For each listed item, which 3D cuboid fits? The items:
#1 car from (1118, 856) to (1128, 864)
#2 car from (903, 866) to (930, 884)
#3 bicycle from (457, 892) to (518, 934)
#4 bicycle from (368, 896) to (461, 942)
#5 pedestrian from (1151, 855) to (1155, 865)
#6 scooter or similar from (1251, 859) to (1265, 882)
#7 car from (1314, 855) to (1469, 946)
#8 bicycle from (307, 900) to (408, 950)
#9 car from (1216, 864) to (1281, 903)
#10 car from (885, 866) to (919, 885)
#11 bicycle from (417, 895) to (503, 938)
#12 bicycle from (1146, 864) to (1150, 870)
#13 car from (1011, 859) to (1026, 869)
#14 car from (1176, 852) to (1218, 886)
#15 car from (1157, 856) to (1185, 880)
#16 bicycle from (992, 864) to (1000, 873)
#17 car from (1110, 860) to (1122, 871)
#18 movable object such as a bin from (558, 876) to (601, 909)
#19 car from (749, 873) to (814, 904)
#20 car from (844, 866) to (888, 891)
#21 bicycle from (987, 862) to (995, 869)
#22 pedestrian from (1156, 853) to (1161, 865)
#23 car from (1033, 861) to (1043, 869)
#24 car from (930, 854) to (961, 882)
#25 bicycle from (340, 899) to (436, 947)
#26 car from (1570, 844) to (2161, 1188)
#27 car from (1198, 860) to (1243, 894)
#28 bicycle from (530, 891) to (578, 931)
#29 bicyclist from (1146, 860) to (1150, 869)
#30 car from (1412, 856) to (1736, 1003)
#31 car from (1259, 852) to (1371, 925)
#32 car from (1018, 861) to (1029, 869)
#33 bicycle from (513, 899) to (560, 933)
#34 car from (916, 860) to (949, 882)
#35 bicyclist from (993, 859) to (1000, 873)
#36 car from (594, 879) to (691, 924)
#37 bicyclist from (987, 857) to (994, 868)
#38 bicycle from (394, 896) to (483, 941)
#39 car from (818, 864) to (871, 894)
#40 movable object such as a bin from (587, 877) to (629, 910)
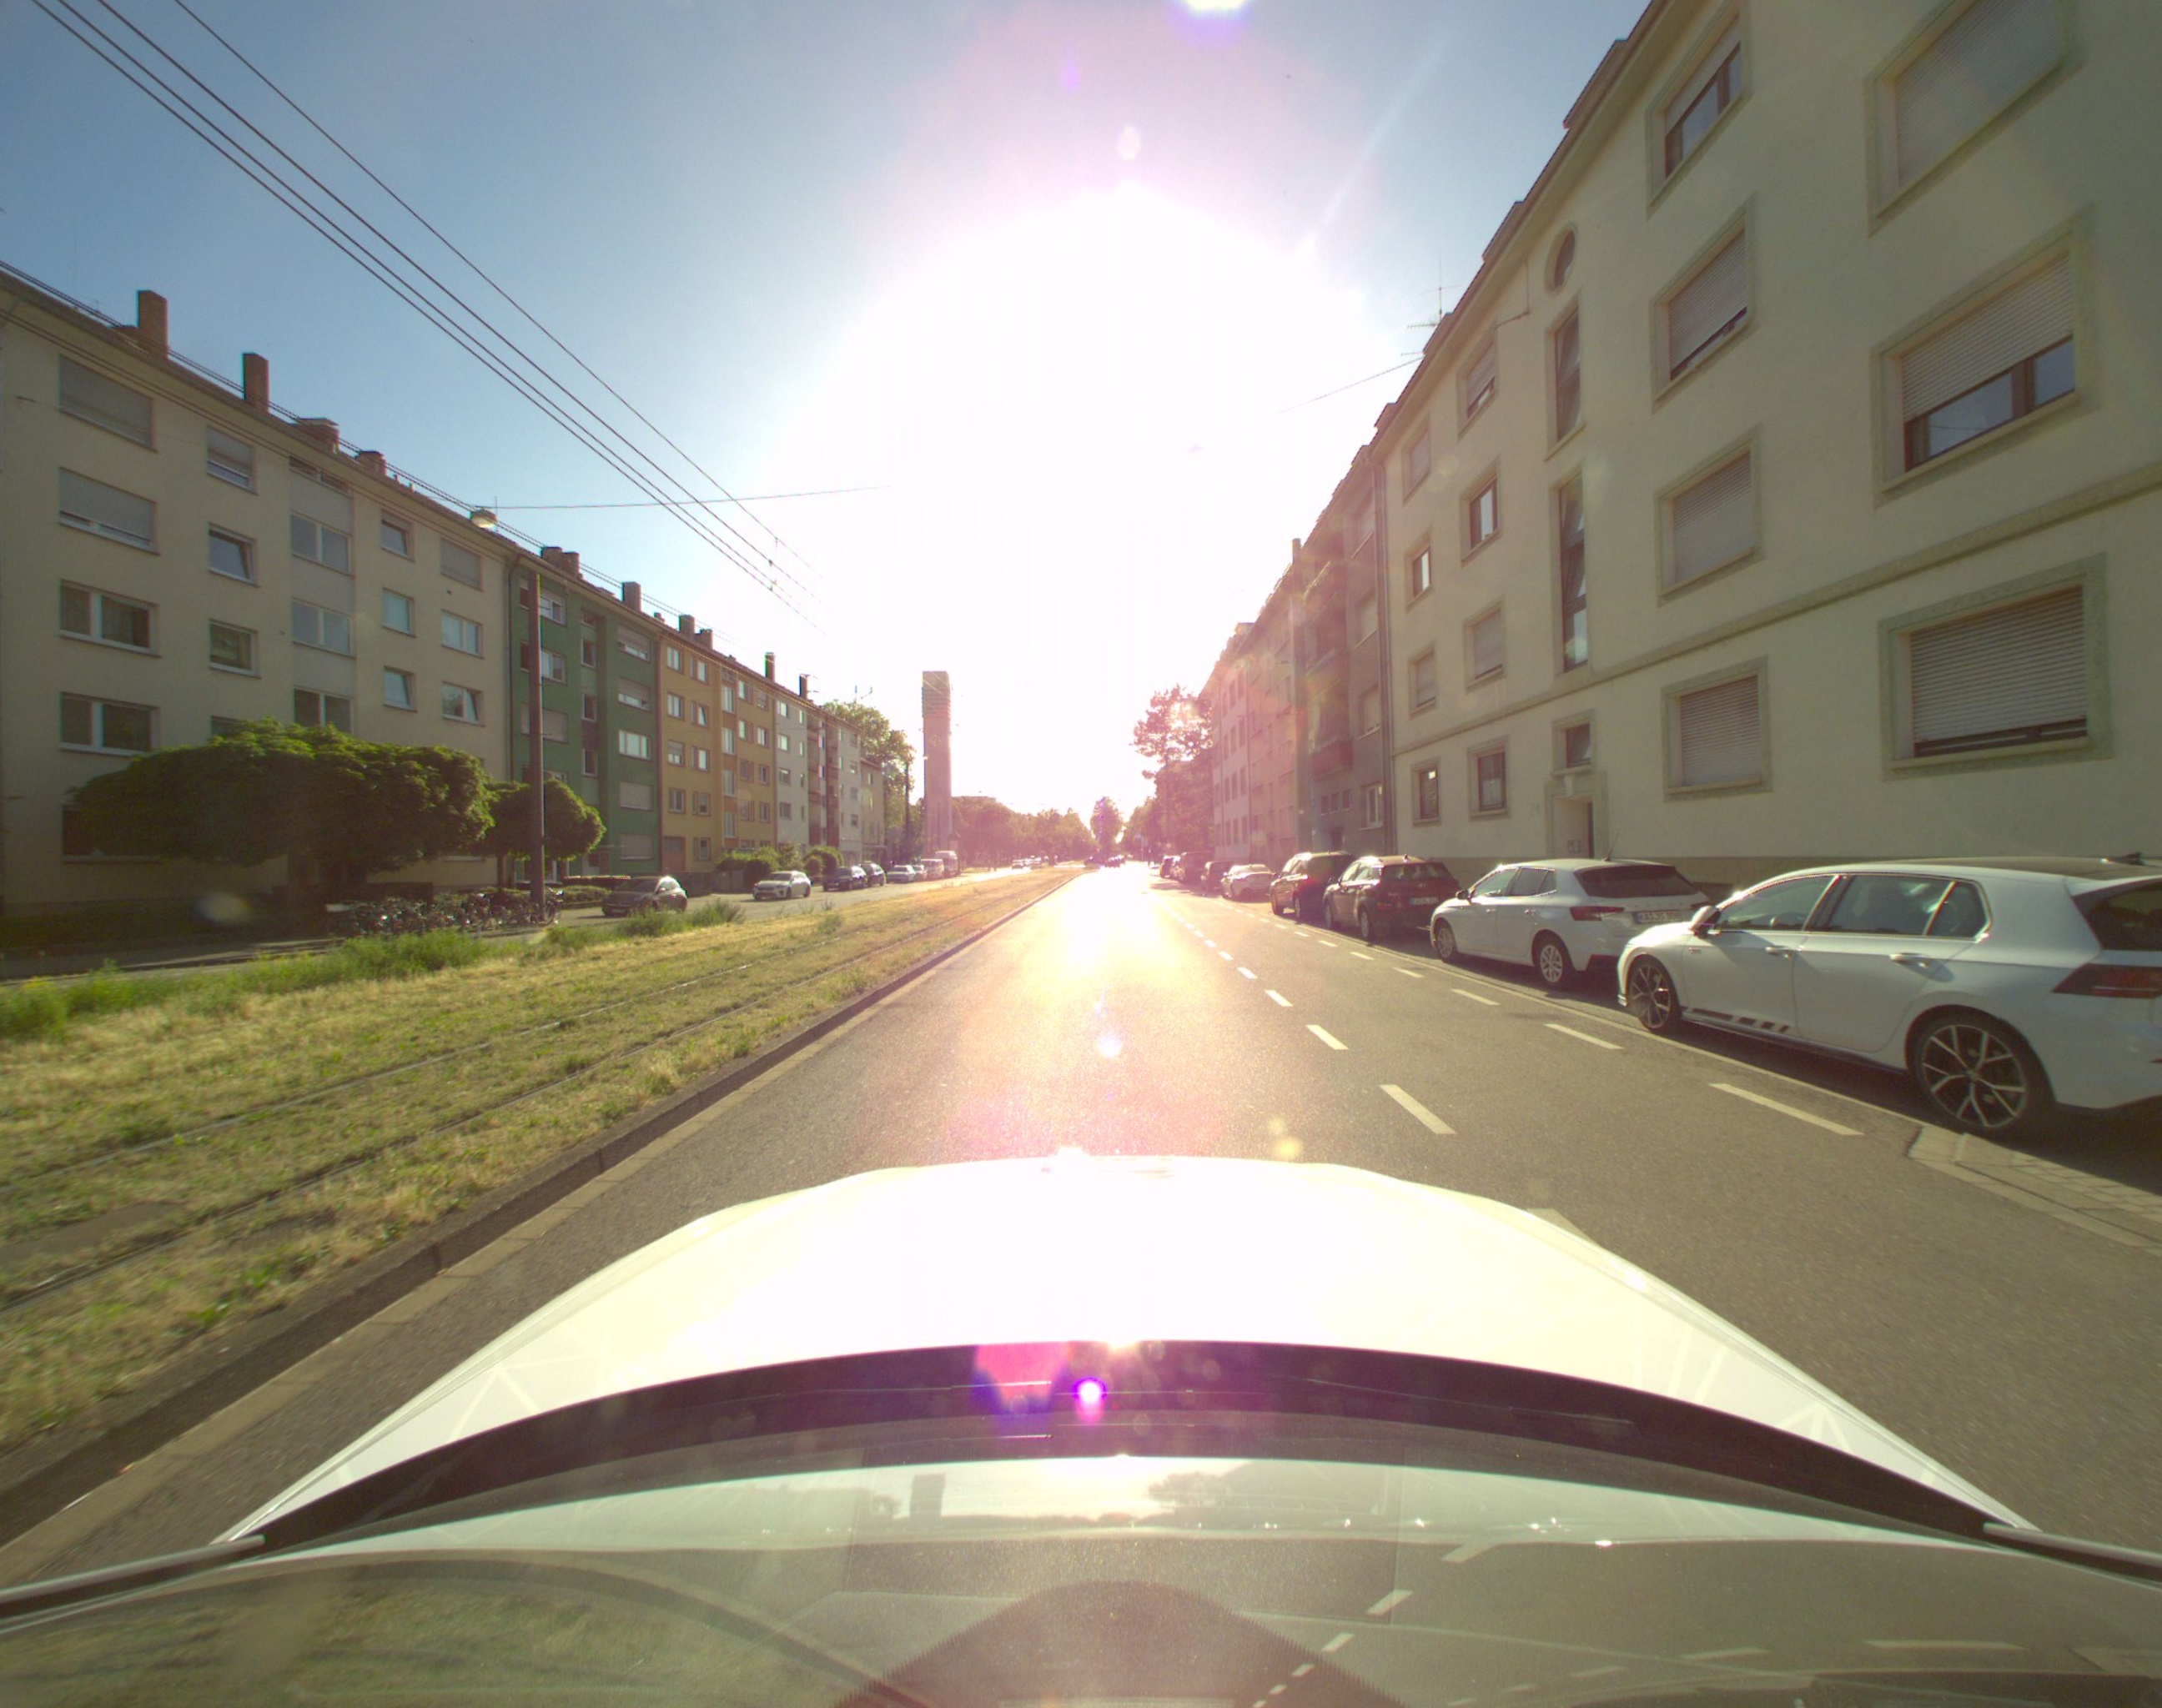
[{"bbox_3d":[8.481,1.200,166.188,1.887,1.611,4.501,1,0,1],"label":"car"},{"bbox_3d":[-15.037,1.917,74.660,1.689,1.515,4.325,0,0,-1],"label":"car"},{"bbox_3d":[-17.607,1.721,24.147,2.029,1.092,0.619,1,0,28],"label":"bicycle"},{"bbox_3d":[-17.491,1.703,21.377,2.037,1.092,0.617,1,0,7],"label":"bicycle"},{"bbox_3d":[11.059,0.951,124.551,0.526,1.529,0.629,-3,-1,7],"label":"pedestrian"},{"bbox_3d":[10.129,0.916,46.634,0.457,1.238,1.339,-5,0,2],"label":"scooter or similar"},{"bbox_3d":[6.062,0.819,16.425,1.629,1.517,4.191,-2,0,2],"label":"car"},{"bbox_3d":[-17.674,1.721,19.910,2.037,1.092,0.617,1,0,7],"label":"bicycle"},{"bbox_3d":[6.599,1.127,32.458,1.696,1.275,4.304,-5,0,1],"label":"car"},{"bbox_3d":[-15.099,1.793,68.935,1.886,1.491,4.702,1,0,0],"label":"car"},{"bbox_3d":[-17.351,1.733,22.771,2.037,1.092,0.617,1,0,7],"label":"bicycle"},{"bbox_3d":[9.994,1.947,121.781,0.645,0.972,1.806,1,0,5],"label":"bicycle"},{"bbox_3d":[-9.698,1.519,126.091,1.687,1.448,4.220,-2,0,3],"label":"car"},{"bbox_3d":[7.278,0.878,51.563,1.906,1.899,5.137,-4,0,1],"label":"car"},{"bbox_3d":[7.319,1.125,66.814,1.871,1.717,4.937,-4,0,3],"label":"car"},{"bbox_3d":[-12.021,2.104,115.696,0.765,1.146,2.476,-3,0,2],"label":"bicycle"},{"bbox_3d":[5.255,1.704,123.040,1.689,1.508,3.698,1,0,0],"label":"car"},{"bbox_3d":[-21.874,1.660,35.556,1.142,1.368,1.040,1,0,4],"label":"movable object such as a bin"},{"bbox_3d":[-15.968,1.787,43.637,1.722,1.454,4.378,0,0,2],"label":"car"},{"bbox_3d":[-15.704,1.759,59.641,1.986,1.607,4.153,1,0,2],"label":"car"},{"bbox_3d":[-12.214,1.494,110.181,0.765,0.879,2.070,-3,0,2],"label":"bicycle"},{"bbox_3d":[11.854,0.809,124.403,0.699,1.789,0.695,-4,1,7],"label":"pedestrian"},{"bbox_3d":[-9.078,2.334,172.814,1.681,1.533,4.363,-1,0,2],"label":"car"},{"bbox_3d":[-14.501,1.472,87.434,2.024,2.868,6.232,0,0,3],"label":"car"},{"bbox_3d":[-17.566,1.737,20.658,2.037,1.092,0.617,1,0,7],"label":"bicycle"},{"bbox_3d":[5.549,0.692,5.737,1.687,1.458,4.382,-2,0,2],"label":"car"},{"bbox_3d":[6.826,1.112,40.140,1.629,1.454,3.791,-4,0,2],"label":"car"},{"bbox_3d":[-16.267,1.747,25.191,0.509,1.092,1.929,1,0,-10],"label":"bicycle"},{"bbox_3d":[10.012,1.563,121.806,0.635,1.323,0.804,1,0,4],"label":"bicyclist"},{"bbox_3d":[6.042,0.801,10.640,1.631,1.458,4.078,-2,0,-2],"label":"car"},{"bbox_3d":[6.138,0.833,21.862,1.630,1.647,4.373,-4,0,0],"label":"car"},{"bbox_3d":[-12.121,2.255,171.670,1.800,1.533,4.363,-1,0,2],"label":"car"},{"bbox_3d":[-16.733,1.891,25.053,0.376,0.866,2.048,1,0,-10],"label":"bicycle"},{"bbox_3d":[-14.597,1.665,80.414,2.024,2.021,5.374,1,0,3],"label":"car"},{"bbox_3d":[-12.011,1.670,115.506,0.770,2.013,0.648,1,0,2],"label":"bicyclist"},{"bbox_3d":[-16.477,1.762,30.825,1.630,1.442,3.733,1,0,0],"label":"car"},{"bbox_3d":[-12.215,1.150,110.163,0.770,1.384,0.648,-2,0,2],"label":"bicyclist"},{"bbox_3d":[-17.424,1.742,22.110,2.037,1.092,0.617,1,0,7],"label":"bicycle"},{"bbox_3d":[-15.668,1.608,54.177,1.986,1.838,4.611,1,0,2],"label":"car"},{"bbox_3d":[-20.589,1.689,35.437,1.142,1.368,1.040,1,0,4],"label":"movable object such as a bin"}]
